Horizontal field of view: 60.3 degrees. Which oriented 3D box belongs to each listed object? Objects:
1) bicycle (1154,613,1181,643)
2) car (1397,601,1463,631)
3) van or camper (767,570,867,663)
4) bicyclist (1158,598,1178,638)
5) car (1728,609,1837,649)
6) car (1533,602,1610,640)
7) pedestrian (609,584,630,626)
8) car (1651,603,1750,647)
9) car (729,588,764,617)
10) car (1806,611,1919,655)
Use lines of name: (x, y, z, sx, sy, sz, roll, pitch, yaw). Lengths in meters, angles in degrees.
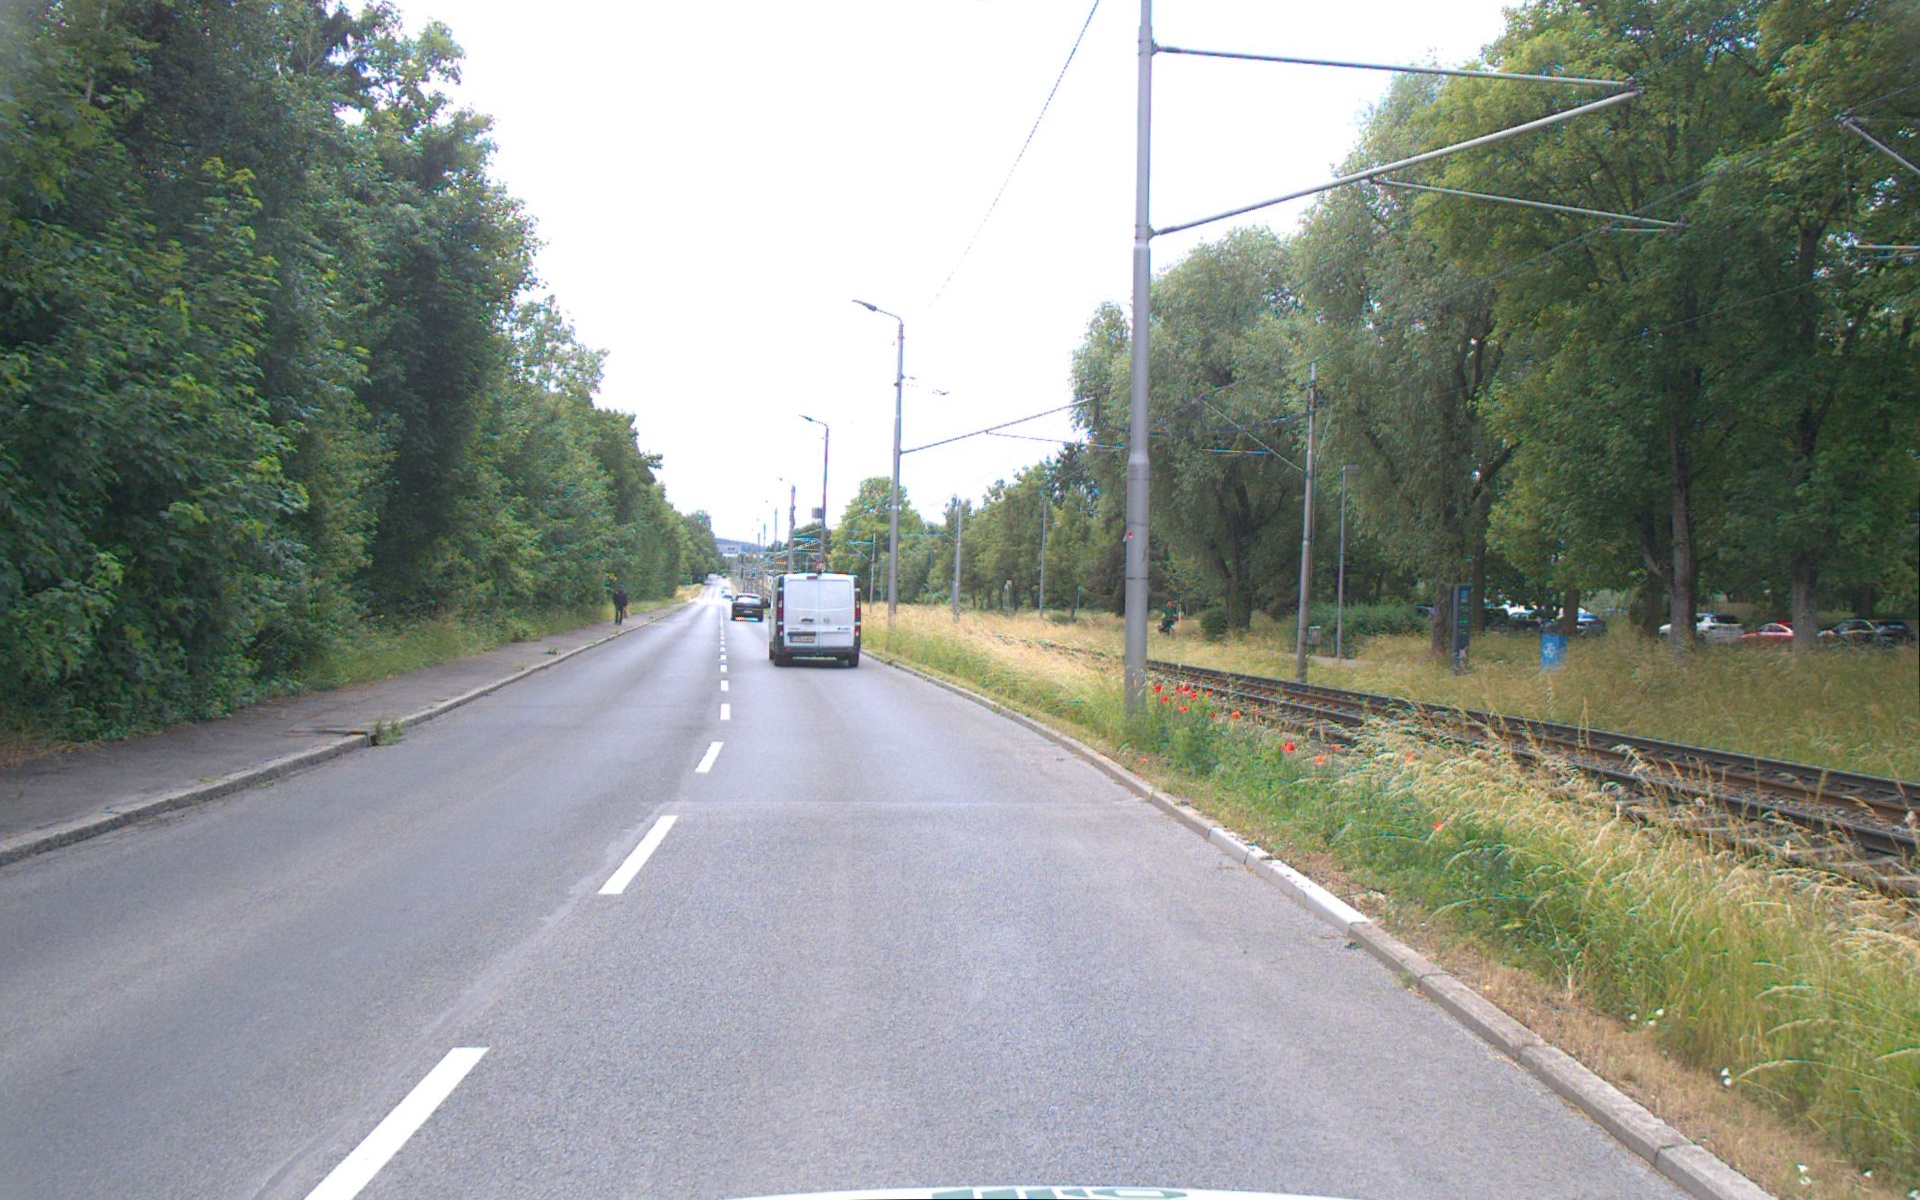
bicycle: (9.063, 1.211, 72.397, 0.570, 1.268, 1.924, 2, 0, -12)
car: (31.918, 1.082, 112.313, 1.975, 1.844, 3.954, 2, 0, -33)
van or camper: (-3.226, 0.358, 36.634, 1.906, 1.930, 4.275, 0, 0, -9)
bicyclist: (9.095, 0.769, 72.310, 0.570, 1.726, 0.933, 2, 0, -12)
car: (32.773, 1.134, 66.027, 1.956, 1.468, 3.993, 2, 0, -8)
car: (30.460, 1.038, 82.525, 1.955, 1.729, 3.995, 3, 0, -6)
pedestrian: (-14.811, 0.208, 72.017, 0.852, 1.800, 0.787, -1, 1, -12)
car: (32.019, 1.066, 71.638, 1.956, 1.729, 4.221, 3, 0, -8)
car: (-12.904, 0.122, 99.880, 1.956, 1.621, 3.992, 2, 0, -8)
car: (33.420, 1.187, 61.041, 1.956, 1.468, 3.993, 2, 0, -8)
